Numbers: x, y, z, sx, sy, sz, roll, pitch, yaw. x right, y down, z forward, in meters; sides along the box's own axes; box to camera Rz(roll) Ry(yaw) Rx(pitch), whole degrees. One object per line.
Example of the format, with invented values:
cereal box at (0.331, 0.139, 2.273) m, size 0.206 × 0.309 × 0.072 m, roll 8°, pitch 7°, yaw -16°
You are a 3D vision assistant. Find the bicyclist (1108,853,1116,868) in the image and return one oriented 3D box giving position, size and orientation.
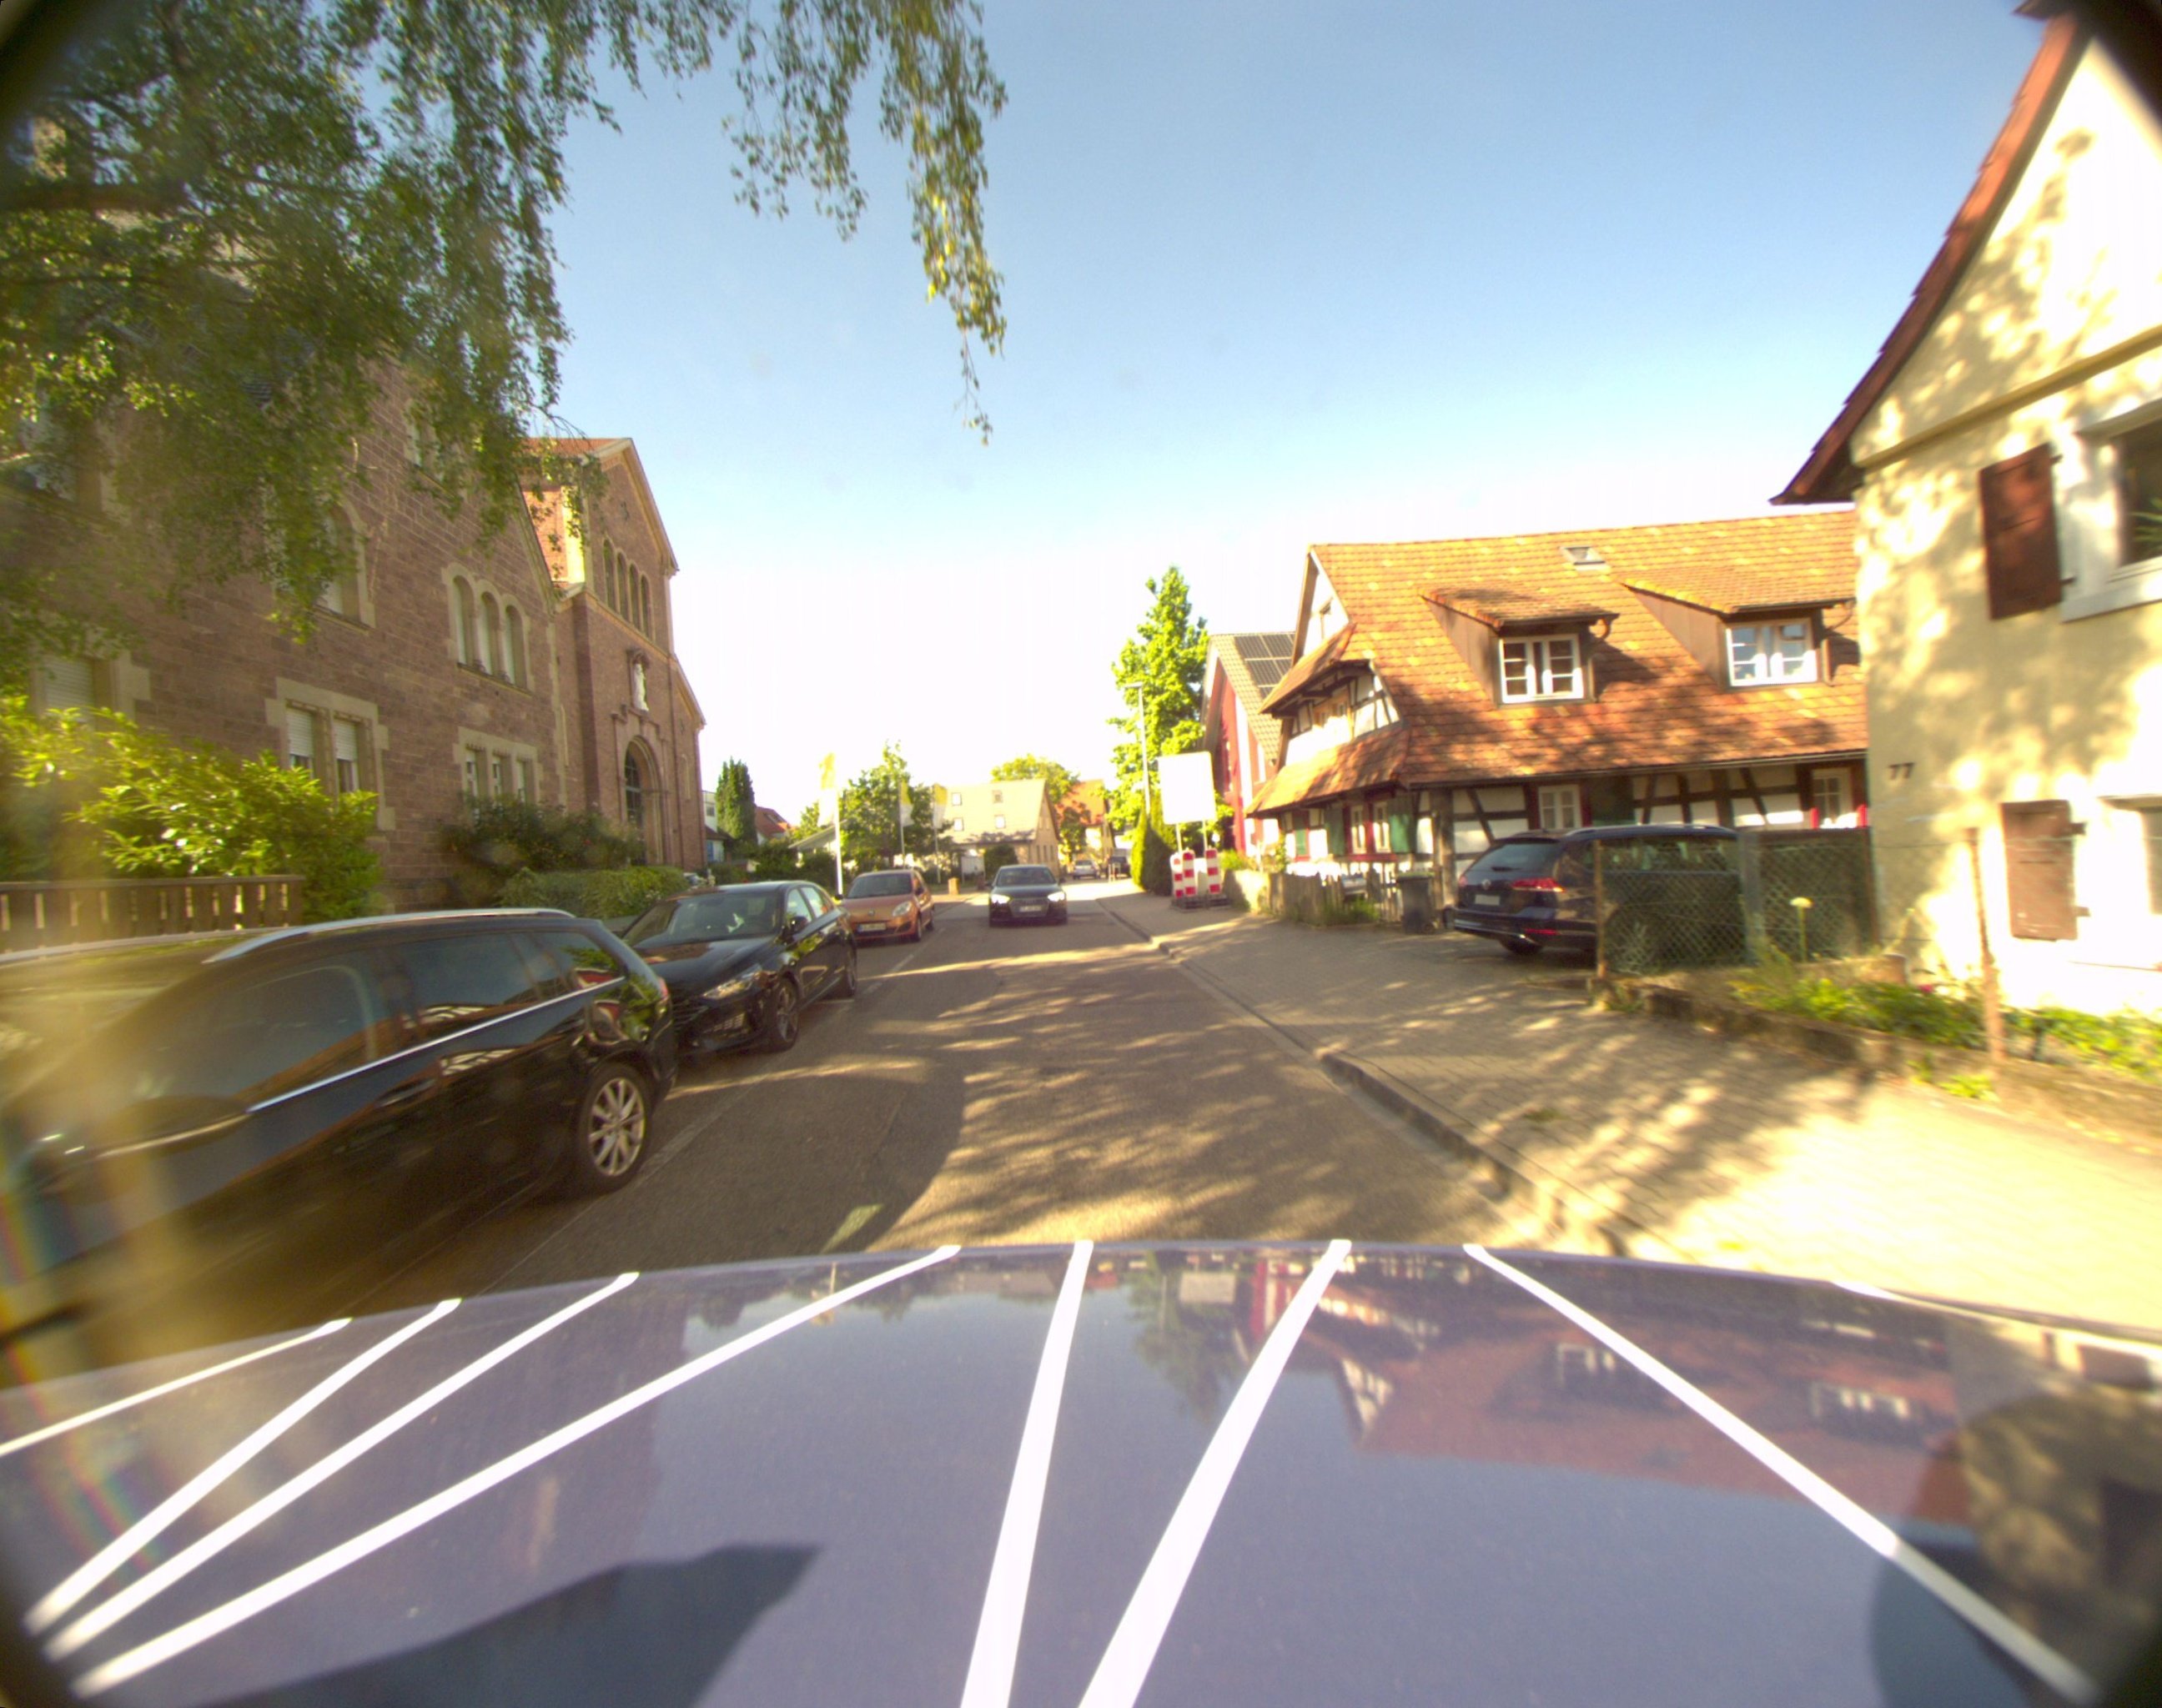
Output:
bicyclist at (2.838, 0.595, 69.594) m, size 0.582 × 1.312 × 0.609 m, roll -2°, pitch 1°, yaw 17°

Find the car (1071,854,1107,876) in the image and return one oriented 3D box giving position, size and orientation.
car at (0.614, 0.794, 54.519) m, size 1.673 × 1.394 × 3.896 m, roll -4°, pitch 0°, yaw 13°

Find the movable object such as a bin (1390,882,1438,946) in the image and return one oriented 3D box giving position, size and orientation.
movable object such as a bin at (4.889, 0.872, 11.177) m, size 0.584 × 0.892 × 0.556 m, roll -1°, pitch 1°, yaw 18°

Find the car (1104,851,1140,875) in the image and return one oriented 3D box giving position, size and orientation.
car at (3.037, 0.635, 55.258) m, size 1.835 × 1.661 × 4.357 m, roll -1°, pitch 0°, yaw 13°

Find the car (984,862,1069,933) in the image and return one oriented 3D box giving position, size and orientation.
car at (-1.283, 0.983, 18.972) m, size 1.808 × 1.469 × 4.343 m, roll -2°, pitch 0°, yaw -2°

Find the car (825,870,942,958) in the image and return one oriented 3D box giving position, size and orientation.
car at (-4.082, 1.169, 16.276) m, size 1.653 × 1.470 × 3.932 m, roll -5°, pitch 0°, yaw -5°

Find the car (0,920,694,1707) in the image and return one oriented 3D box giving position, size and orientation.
car at (-3.179, 1.153, 2.240) m, size 1.812 × 1.427 × 4.285 m, roll -4°, pitch 0°, yaw -1°

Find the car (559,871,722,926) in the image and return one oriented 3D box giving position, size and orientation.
car at (-13.507, 1.330, 23.556) m, size 3.911 × 1.488 × 1.902 m, roll -1°, pitch 1°, yaw -10°

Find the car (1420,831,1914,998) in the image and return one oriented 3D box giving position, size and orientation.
car at (6.210, 0.569, 8.326) m, size 4.171 × 1.453 × 1.847 m, roll -2°, pitch 0°, yaw -7°

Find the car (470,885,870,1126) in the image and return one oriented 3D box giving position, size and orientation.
car at (-3.506, 1.154, 7.558) m, size 1.812 × 1.427 × 4.284 m, roll -4°, pitch 0°, yaw -5°

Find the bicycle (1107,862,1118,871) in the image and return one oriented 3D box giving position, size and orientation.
bicycle at (2.883, 1.102, 69.592) m, size 0.582 × 0.757 × 1.801 m, roll -2°, pitch 0°, yaw 17°
